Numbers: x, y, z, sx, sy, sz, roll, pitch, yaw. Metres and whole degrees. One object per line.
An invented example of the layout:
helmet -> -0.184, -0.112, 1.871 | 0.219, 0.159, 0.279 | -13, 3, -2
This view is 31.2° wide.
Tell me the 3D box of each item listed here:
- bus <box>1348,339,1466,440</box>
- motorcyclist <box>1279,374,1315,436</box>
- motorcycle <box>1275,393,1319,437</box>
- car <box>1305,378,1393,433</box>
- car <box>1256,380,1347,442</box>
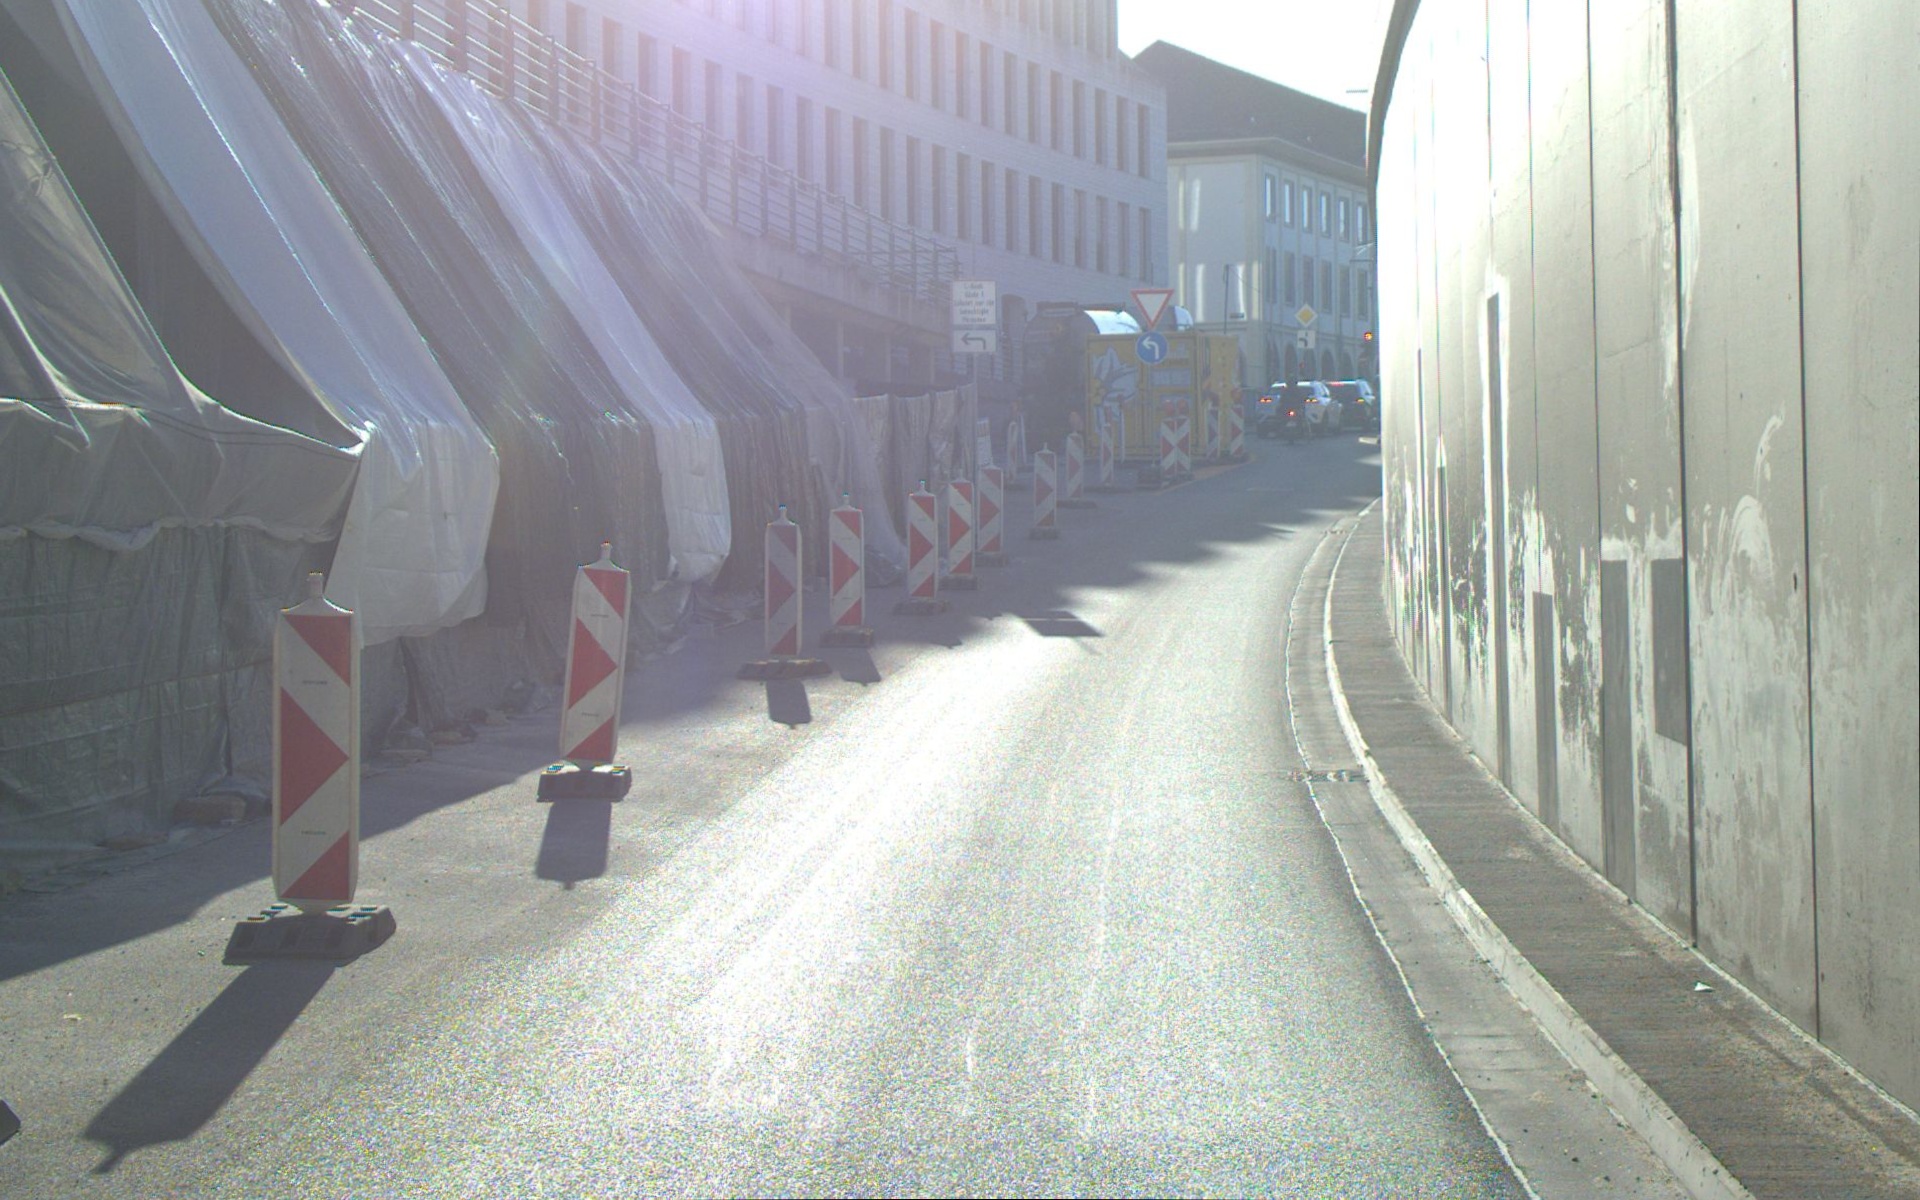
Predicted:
bus -> 11.545, -5.430, 88.588 | 2.227, 2.548, 4.424 | 1, 4, 18
motorcyclist -> 8.306, -4.803, 84.707 | 0.804, 1.499, 0.776 | 0, 0, 13
motorcycle -> 8.315, -4.550, 84.773 | 0.771, 0.989, 2.182 | 0, 0, 13
car -> 11.090, -5.525, 97.739 | 1.822, 1.528, 3.998 | 1, 3, 16
car -> 9.128, -5.045, 91.745 | 1.777, 1.598, 3.998 | 1, 3, 15
